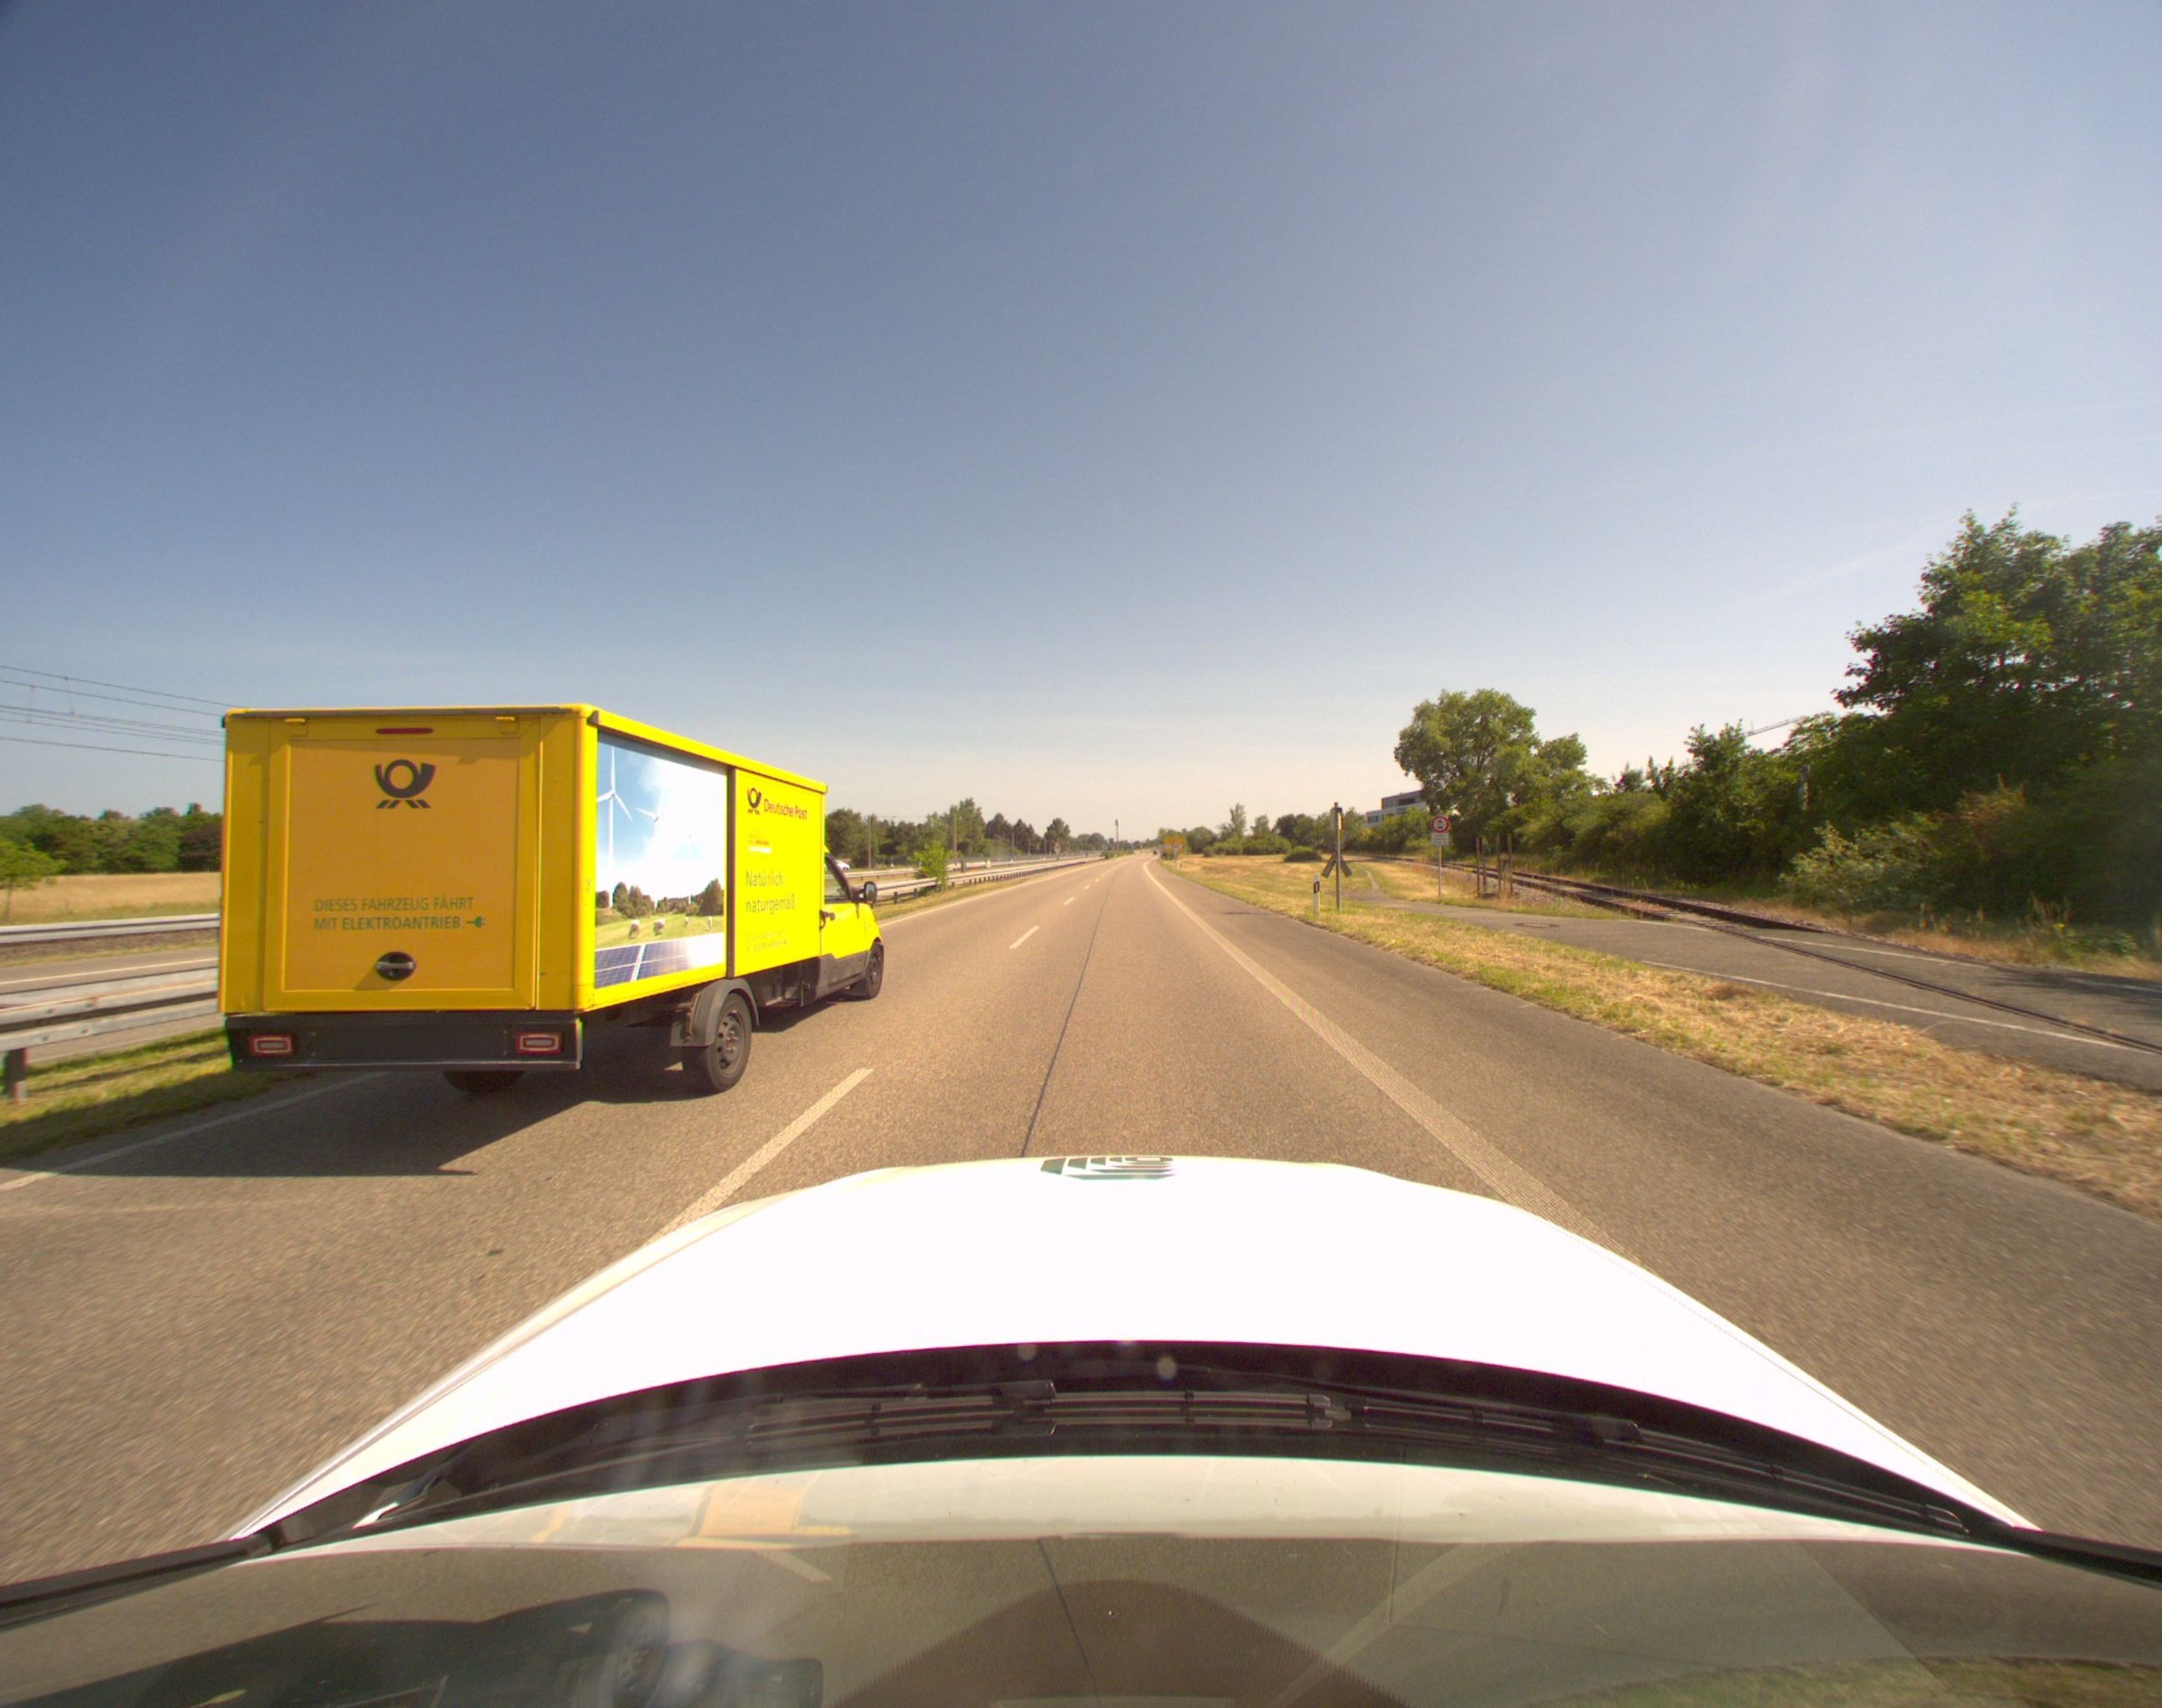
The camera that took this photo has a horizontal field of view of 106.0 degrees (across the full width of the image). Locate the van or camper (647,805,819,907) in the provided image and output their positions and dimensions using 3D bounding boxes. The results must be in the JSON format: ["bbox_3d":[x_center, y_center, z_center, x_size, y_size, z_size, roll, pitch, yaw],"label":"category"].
[{"bbox_3d":[-14.068,0.055,33.976,2.863,3.680,8.653,-1,0,4],"label":"van or camper"}]

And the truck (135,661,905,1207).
[{"bbox_3d":[-3.223,0.365,6.706,2.104,2.457,5.918,-1,0,1],"label":"truck"}]

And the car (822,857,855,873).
[{"bbox_3d":[-33.197,1.518,111.490,4.005,2.013,1.984,-1,0,-24],"label":"car"}]
